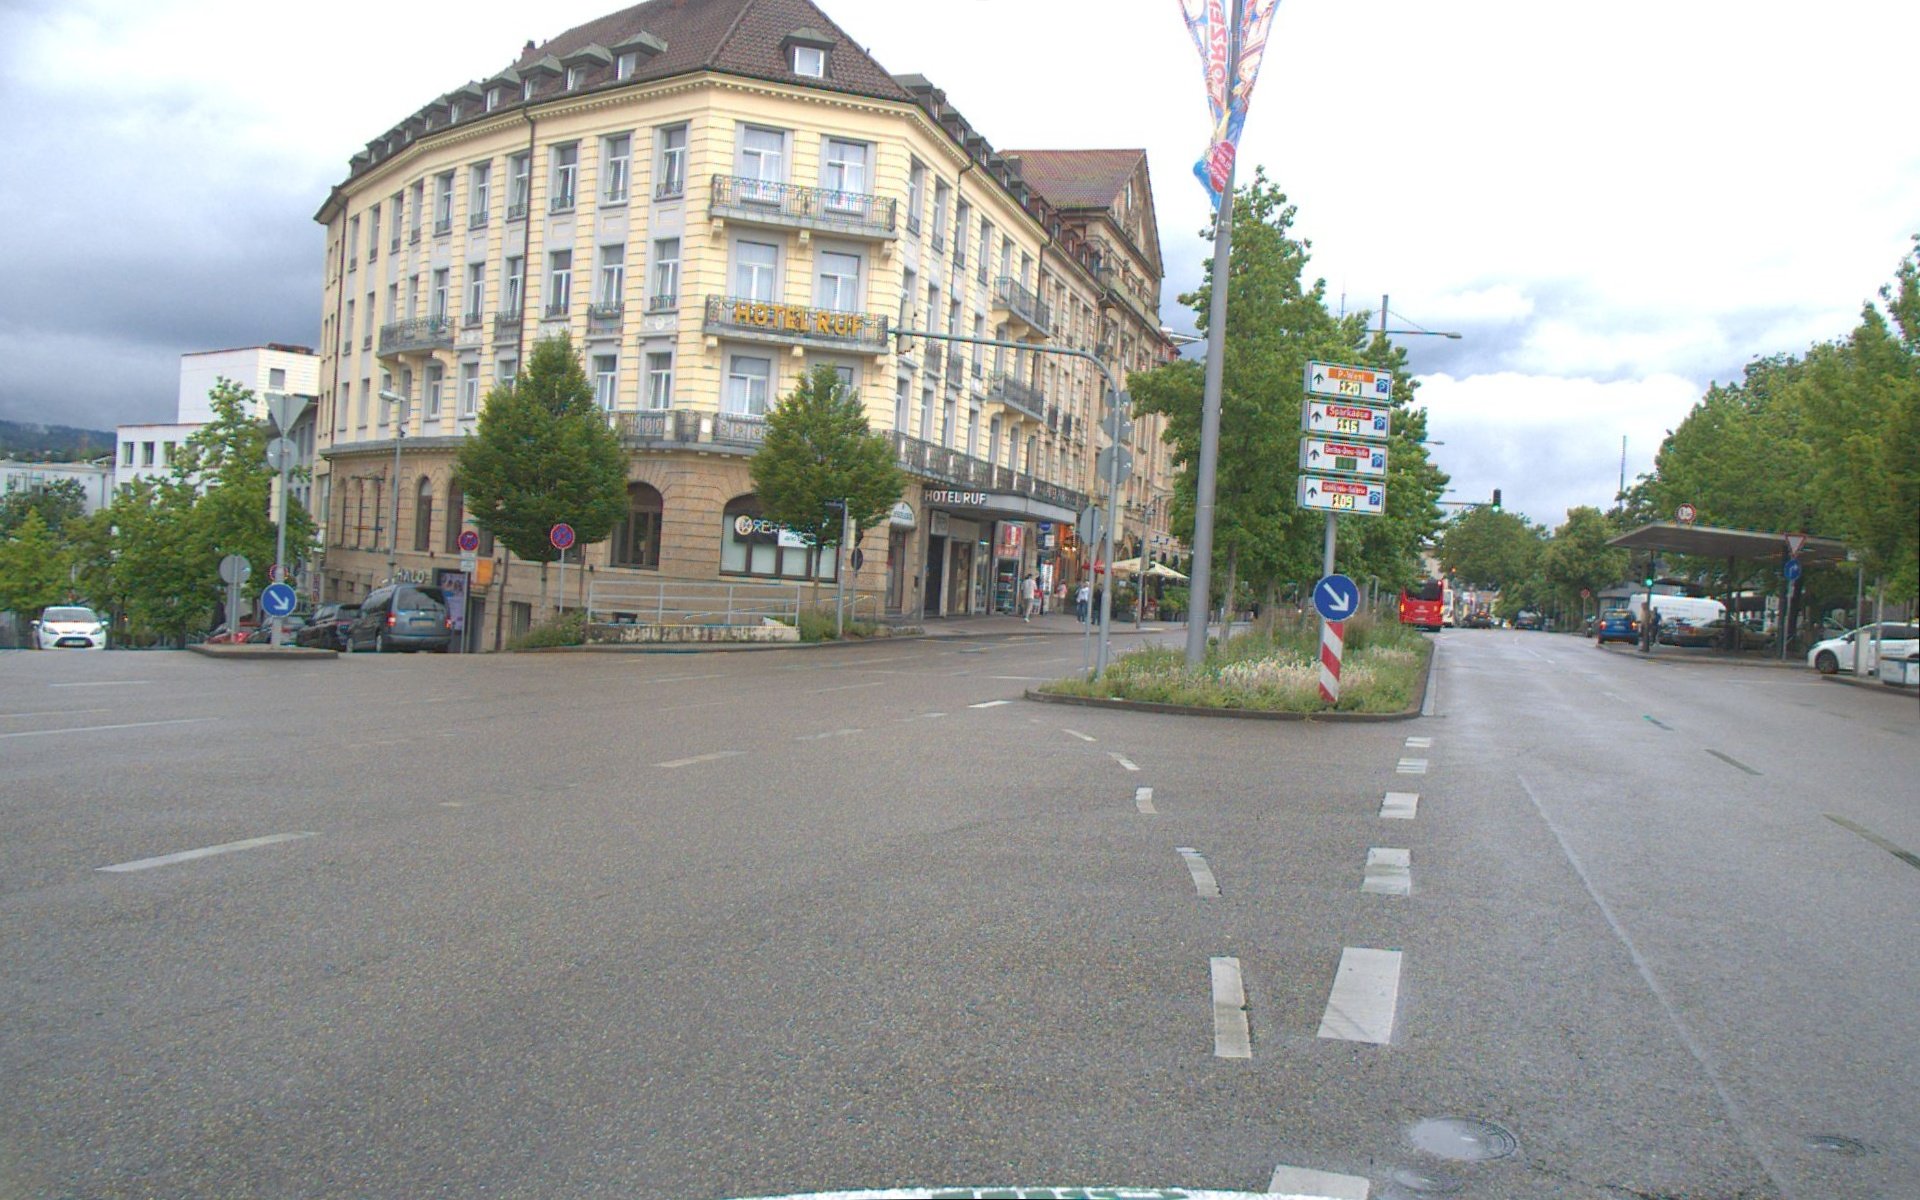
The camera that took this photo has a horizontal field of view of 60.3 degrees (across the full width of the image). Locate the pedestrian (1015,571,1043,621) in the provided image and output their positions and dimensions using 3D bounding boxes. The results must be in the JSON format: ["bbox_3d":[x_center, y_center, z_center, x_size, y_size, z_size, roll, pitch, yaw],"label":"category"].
[{"bbox_3d":[2.533,-0.142,60.818,0.861,1.844,0.751,1,-1,17],"label":"pedestrian"}]

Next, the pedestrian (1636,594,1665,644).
[{"bbox_3d":[24.881,0.681,59.627,0.730,1.777,0.837,2,-1,9],"label":"pedestrian"}]

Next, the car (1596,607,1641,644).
[{"bbox_3d":[30.655,1.183,77.090,1.820,1.596,4.000,2,0,21],"label":"car"}]

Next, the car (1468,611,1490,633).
[{"bbox_3d":[51.048,2.159,162.657,1.951,2.049,4.002,1,0,17],"label":"car"}]

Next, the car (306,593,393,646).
[{"bbox_3d":[-18.171,0.569,49.136,1.614,1.422,3.955,1,1,-33],"label":"car"}]

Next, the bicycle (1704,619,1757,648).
[{"bbox_3d":[29.308,1.271,62.909,1.790,1.074,0.420,1,-1,-1],"label":"bicycle"}]

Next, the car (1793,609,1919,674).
[{"bbox_3d":[24.421,1.090,43.243,1.733,1.572,4.745,2,0,-22],"label":"car"}]

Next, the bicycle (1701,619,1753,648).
[{"bbox_3d":[29.401,1.275,63.372,1.790,1.074,0.420,1,-1,-1],"label":"bicycle"}]

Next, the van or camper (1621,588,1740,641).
[{"bbox_3d":[40.191,0.802,92.297,5.838,2.811,2.193,1,0,-10],"label":"van or camper"}]

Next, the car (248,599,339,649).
[{"bbox_3d":[-21.435,0.767,53.108,1.751,1.504,3.947,1,0,-37],"label":"car"}]

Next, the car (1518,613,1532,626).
[{"bbox_3d":[73.107,2.496,214.085,1.561,1.588,3.652,1,0,17],"label":"car"}]

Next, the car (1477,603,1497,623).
[{"bbox_3d":[56.463,1.383,177.145,1.951,2.049,4.002,1,0,17],"label":"car"}]

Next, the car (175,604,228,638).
[{"bbox_3d":[-34.819,0.945,75.896,1.747,1.504,3.957,1,0,-31],"label":"car"}]

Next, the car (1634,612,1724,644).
[{"bbox_3d":[37.699,1.465,86.723,3.914,1.468,1.861,3,0,-10],"label":"car"}]

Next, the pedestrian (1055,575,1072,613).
[{"bbox_3d":[4.635,-0.256,73.991,0.652,1.693,0.537,1,-1,9],"label":"pedestrian"}]

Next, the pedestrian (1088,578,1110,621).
[{"bbox_3d":[5.546,0.001,65.984,0.667,1.693,0.807,1,-1,17],"label":"pedestrian"}]

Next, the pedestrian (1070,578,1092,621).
[{"bbox_3d":[4.848,-0.032,66.255,0.667,1.693,0.807,1,-1,20],"label":"pedestrian"}]

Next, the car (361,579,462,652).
[{"bbox_3d":[-14.541,0.378,43.726,1.614,1.790,3.956,1,1,-32],"label":"car"}]

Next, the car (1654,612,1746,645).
[{"bbox_3d":[37.754,1.457,84.401,3.914,1.468,1.861,3,0,-10],"label":"car"}]

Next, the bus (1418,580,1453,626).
[{"bbox_3d":[41.747,0.305,145.433,2.746,3.812,10.452,1,0,15],"label":"bus"}]

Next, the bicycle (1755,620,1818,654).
[{"bbox_3d":[27.286,1.217,54.601,1.789,1.074,0.420,1,-1,17],"label":"bicycle"}]

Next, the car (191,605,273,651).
[{"bbox_3d":[-25.430,0.955,57.745,1.751,1.504,3.957,1,0,-37],"label":"car"}]

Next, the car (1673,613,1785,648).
[{"bbox_3d":[33.834,1.333,72.825,4.102,1.348,1.839,2,0,-3],"label":"car"}]

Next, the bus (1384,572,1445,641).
[{"bbox_3d":[28.533,0.438,103.739,3.470,4.049,11.178,1,0,16],"label":"bus"}]

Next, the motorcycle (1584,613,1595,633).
[{"bbox_3d":[41.674,1.538,109.527,0.583,1.310,1.953,1,0,22],"label":"motorcycle"}]

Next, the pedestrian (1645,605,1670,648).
[{"bbox_3d":[31.004,1.189,73.557,0.838,1.867,1.190,2,-1,17],"label":"pedestrian"}]

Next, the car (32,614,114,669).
[{"bbox_3d":[-25.261,1.160,47.057,1.616,1.422,3.951,1,0,-35],"label":"car"}]
